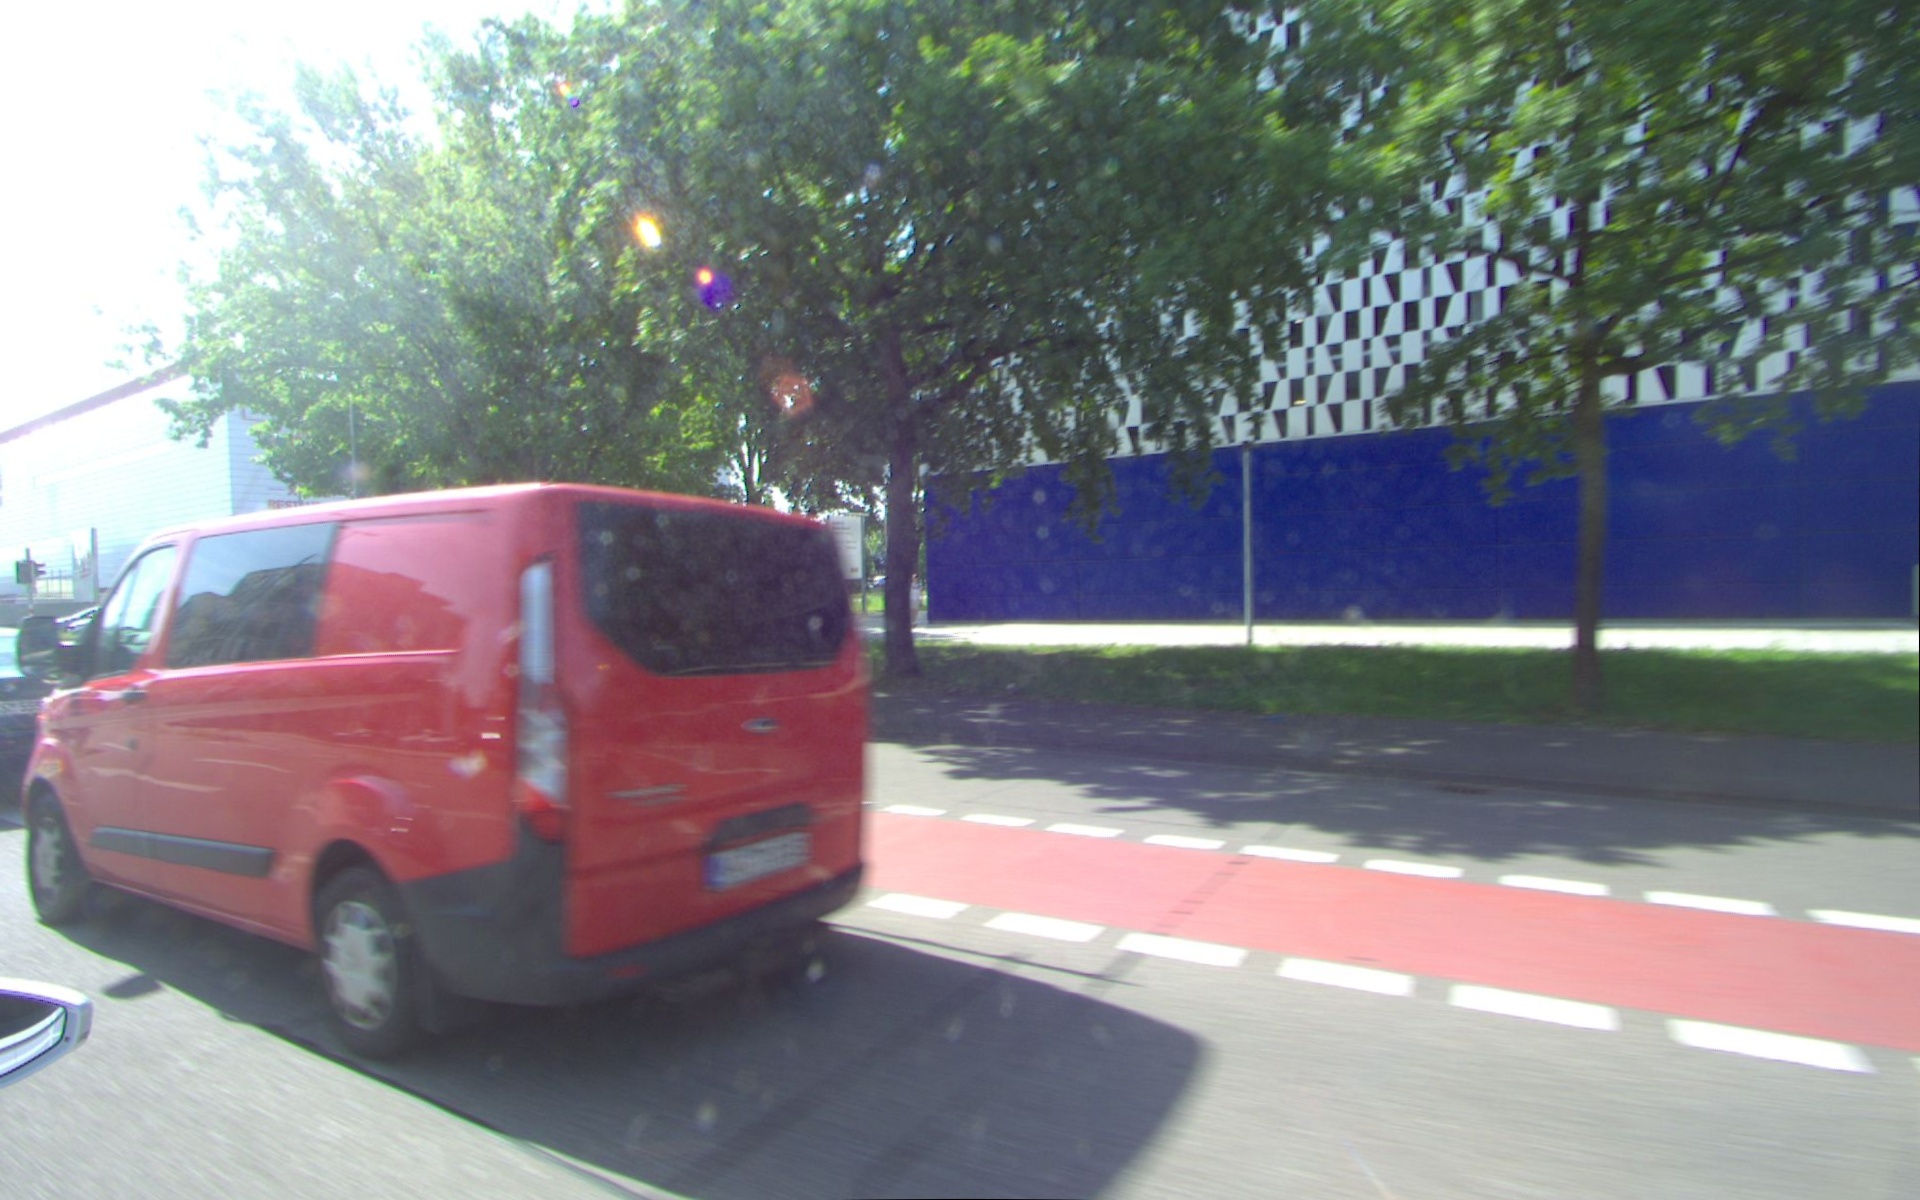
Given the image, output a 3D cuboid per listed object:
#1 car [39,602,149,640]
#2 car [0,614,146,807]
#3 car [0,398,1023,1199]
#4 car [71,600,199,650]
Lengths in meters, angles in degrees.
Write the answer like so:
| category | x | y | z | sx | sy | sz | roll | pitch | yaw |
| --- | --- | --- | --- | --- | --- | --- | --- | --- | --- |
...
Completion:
| category | x | y | z | sx | sy | sz | roll | pitch | yaw |
| --- | --- | --- | --- | --- | --- | --- | --- | --- | --- |
| car | -42.184 | 1.008 | 48.861 | 1.462 | 1.540 | 3.757 | 0 | 3 | 37 |
| car | -9.160 | 0.868 | 8.857 | 4.412 | 1.477 | 1.743 | -1 | -1 | 32 |
| car | -2.386 | 0.535 | 4.679 | 5.052 | 1.993 | 1.964 | -1 | -1 | 32 |
| car | -39.275 | 1.152 | 47.762 | 1.462 | 2.022 | 4.383 | 0 | 3 | 37 |
